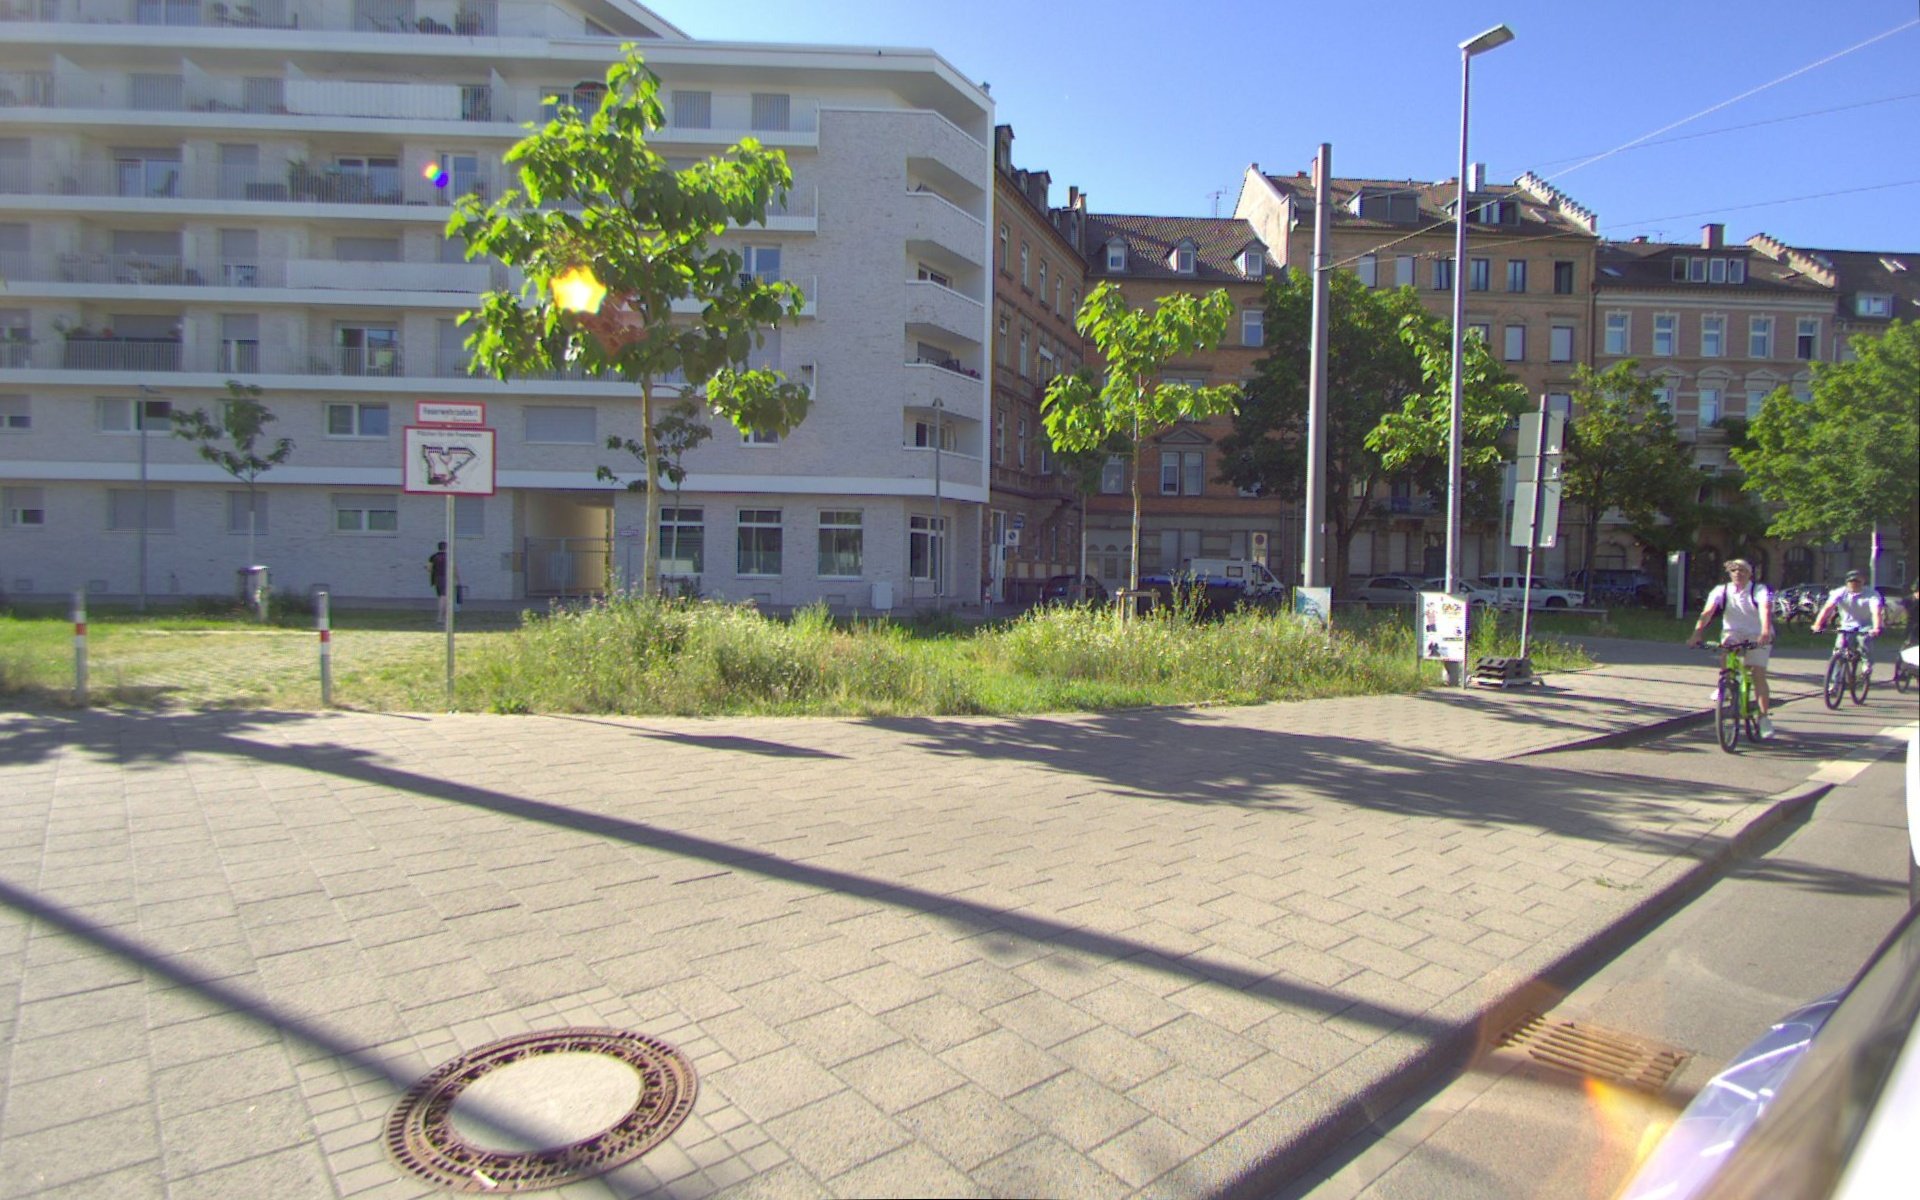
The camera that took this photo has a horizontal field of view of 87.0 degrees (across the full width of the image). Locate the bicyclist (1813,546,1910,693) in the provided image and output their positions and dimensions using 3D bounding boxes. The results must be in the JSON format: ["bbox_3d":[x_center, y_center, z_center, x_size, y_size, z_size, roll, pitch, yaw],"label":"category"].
[{"bbox_3d":[12.123,0.233,13.611,0.735,1.889,0.810,-1,2,-35],"label":"bicyclist"}]

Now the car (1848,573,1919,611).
[{"bbox_3d":[37.824,-0.323,39.964,1.649,1.423,3.832,-1,3,-32],"label":"car"}]

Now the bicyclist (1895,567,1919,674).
[{"bbox_3d":[15.182,0.317,15.752,0.952,1.649,0.632,0,1,-29],"label":"bicyclist"}]

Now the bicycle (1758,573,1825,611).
[{"bbox_3d":[29.276,-0.287,35.676,0.651,1.284,2.202,0,0,4],"label":"bicycle"}]

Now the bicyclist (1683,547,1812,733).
[{"bbox_3d":[7.873,0.363,10.113,1.074,1.747,0.716,0,2,-38],"label":"bicyclist"}]

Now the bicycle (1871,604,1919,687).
[{"bbox_3d":[15.065,0.684,15.730,2.110,1.212,0.639,0,1,-28],"label":"bicycle"}]

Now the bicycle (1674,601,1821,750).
[{"bbox_3d":[7.922,0.698,10.156,1.717,1.343,0.716,0,2,-38],"label":"bicycle"}]

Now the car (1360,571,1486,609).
[{"bbox_3d":[17.351,-0.417,38.110,1.648,1.267,4.170,0,3,-28],"label":"car"}]

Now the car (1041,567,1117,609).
[{"bbox_3d":[4.569,-0.502,38.301,1.811,1.444,4.359,1,2,21],"label":"car"}]

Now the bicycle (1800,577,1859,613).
[{"bbox_3d":[32.037,-0.187,37.336,0.653,1.284,2.196,0,0,12],"label":"bicycle"}]

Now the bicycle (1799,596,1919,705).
[{"bbox_3d":[12.106,0.625,13.591,2.114,1.317,0.759,-1,2,-36],"label":"bicycle"}]

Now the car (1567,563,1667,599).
[{"bbox_3d":[30.878,-0.915,47.652,3.631,1.607,1.552,1,2,0],"label":"car"}]

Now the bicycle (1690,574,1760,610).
[{"bbox_3d":[28.372,-0.305,37.567,0.649,1.284,2.208,0,0,-11],"label":"bicycle"}]

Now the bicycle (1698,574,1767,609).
[{"bbox_3d":[29.083,-0.314,38.154,0.649,1.284,2.208,0,0,-9],"label":"bicycle"}]

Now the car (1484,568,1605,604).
[{"bbox_3d":[22.331,-0.573,38.776,1.513,1.267,3.700,-1,3,-39],"label":"car"}]

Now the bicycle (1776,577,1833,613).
[{"bbox_3d":[30.943,-0.179,37.113,0.653,1.284,2.196,0,0,12],"label":"bicycle"}]

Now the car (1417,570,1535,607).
[{"bbox_3d":[19.674,-0.463,38.720,1.648,1.267,3.709,0,3,-28],"label":"car"}]

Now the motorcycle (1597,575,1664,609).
[{"bbox_3d":[26.699,-0.331,40.359,0.649,1.300,2.324,0,0,-18],"label":"motorcycle"}]

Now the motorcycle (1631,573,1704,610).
[{"bbox_3d":[26.156,-0.316,37.471,0.649,1.339,2.208,0,0,-23],"label":"motorcycle"}]

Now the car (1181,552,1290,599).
[{"bbox_3d":[12.663,-1.150,46.786,4.416,2.062,2.054,1,2,0],"label":"car"}]

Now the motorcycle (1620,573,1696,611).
[{"bbox_3d":[25.340,-0.301,36.782,0.650,1.347,2.207,0,0,-28],"label":"motorcycle"}]

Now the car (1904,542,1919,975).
[{"bbox_3d":[5.870,0.610,4.719,4.323,1.667,1.840,0,0,-43],"label":"car"}]

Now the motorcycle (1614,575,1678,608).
[{"bbox_3d":[27.490,-0.329,40.613,0.649,1.284,2.209,0,0,-18],"label":"motorcycle"}]

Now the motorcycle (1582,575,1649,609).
[{"bbox_3d":[26.029,-0.323,40.228,0.649,1.293,2.324,0,0,-18],"label":"motorcycle"}]

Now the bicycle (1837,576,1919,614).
[{"bbox_3d":[31.631,-0.161,34.765,2.180,1.284,0.657,0,0,25],"label":"bicycle"}]

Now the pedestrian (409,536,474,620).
[{"bbox_3d":[-11.047,-0.472,21.600,0.829,1.717,0.985,2,2,2],"label":"pedestrian"}]

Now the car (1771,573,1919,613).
[{"bbox_3d":[34.688,-0.315,39.594,1.651,1.423,4.324,-1,3,-38],"label":"car"}]

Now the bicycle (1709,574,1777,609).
[{"bbox_3d":[29.726,-0.320,38.466,0.649,1.284,2.208,0,0,-9],"label":"bicycle"}]
